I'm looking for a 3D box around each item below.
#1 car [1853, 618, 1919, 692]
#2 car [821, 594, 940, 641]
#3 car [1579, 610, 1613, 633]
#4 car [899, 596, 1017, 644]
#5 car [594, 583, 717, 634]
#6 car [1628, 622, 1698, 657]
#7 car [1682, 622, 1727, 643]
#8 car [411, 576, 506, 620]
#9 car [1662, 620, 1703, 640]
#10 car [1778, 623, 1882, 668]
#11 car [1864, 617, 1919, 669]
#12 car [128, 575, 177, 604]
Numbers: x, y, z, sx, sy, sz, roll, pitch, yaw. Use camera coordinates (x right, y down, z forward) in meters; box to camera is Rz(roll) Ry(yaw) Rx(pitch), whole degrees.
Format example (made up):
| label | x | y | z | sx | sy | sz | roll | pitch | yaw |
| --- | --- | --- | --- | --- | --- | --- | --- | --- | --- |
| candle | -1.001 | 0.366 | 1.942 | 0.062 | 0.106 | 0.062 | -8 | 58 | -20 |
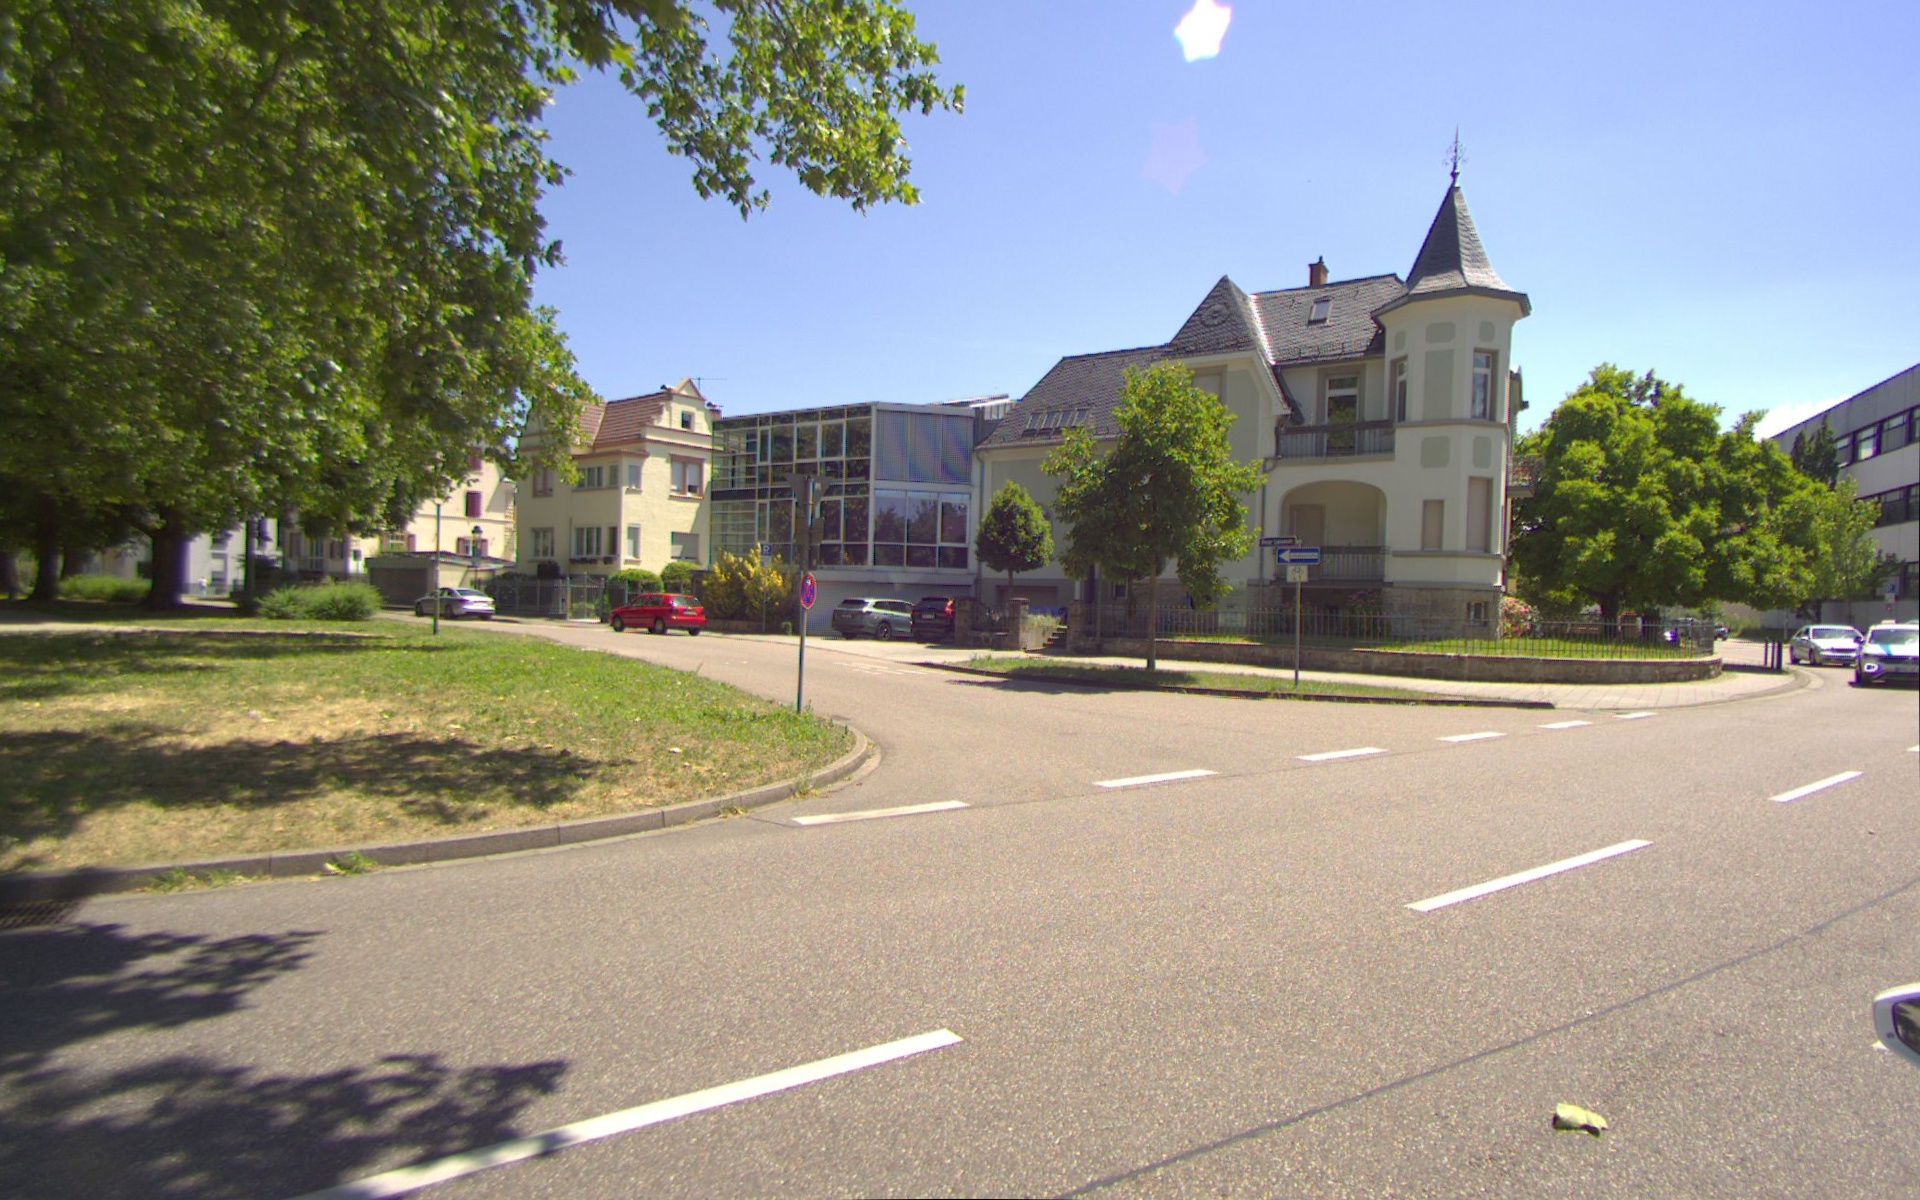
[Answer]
| label | x | y | z | sx | sy | sz | roll | pitch | yaw |
| --- | --- | --- | --- | --- | --- | --- | --- | --- | --- |
| car | 24.058 | 1.346 | 25.569 | 1.852 | 1.645 | 4.279 | 2 | 2 | 43 |
| car | -2.745 | 0.599 | 35.284 | 1.853 | 1.454 | 3.980 | 4 | 2 | 41 |
| car | 63.519 | 2.143 | 100.385 | 2.036 | 2.226 | 5.135 | 0 | -1 | 23 |
| car | -0.019 | 0.674 | 34.474 | 1.969 | 1.445 | 3.982 | 4 | 2 | 39 |
| car | -10.977 | 0.287 | 36.081 | 4.435 | 1.640 | 1.992 | 2 | 1 | 38 |
| car | 34.483 | 1.888 | 49.395 | 1.895 | 1.455 | 4.655 | 5 | 1 | 24 |
| car | 53.420 | 2.293 | 72.171 | 1.833 | 1.391 | 3.996 | 2 | 0 | 26 |
| car | -22.671 | -0.099 | 45.353 | 4.431 | 1.802 | 1.994 | 2 | 1 | 35 |
| car | 55.659 | 2.283 | 77.467 | 1.632 | 1.508 | 4.343 | 0 | 0 | 23 |
| car | 30.584 | 1.567 | 35.446 | 1.731 | 1.454 | 4.299 | 0 | -1 | 27 |
| car | 33.888 | 1.479 | 35.014 | 1.905 | 1.635 | 4.471 | -5 | -2 | 20 |
| car | -54.165 | -0.689 | 67.381 | 4.443 | 1.802 | 1.988 | 2 | 1 | 44 |
